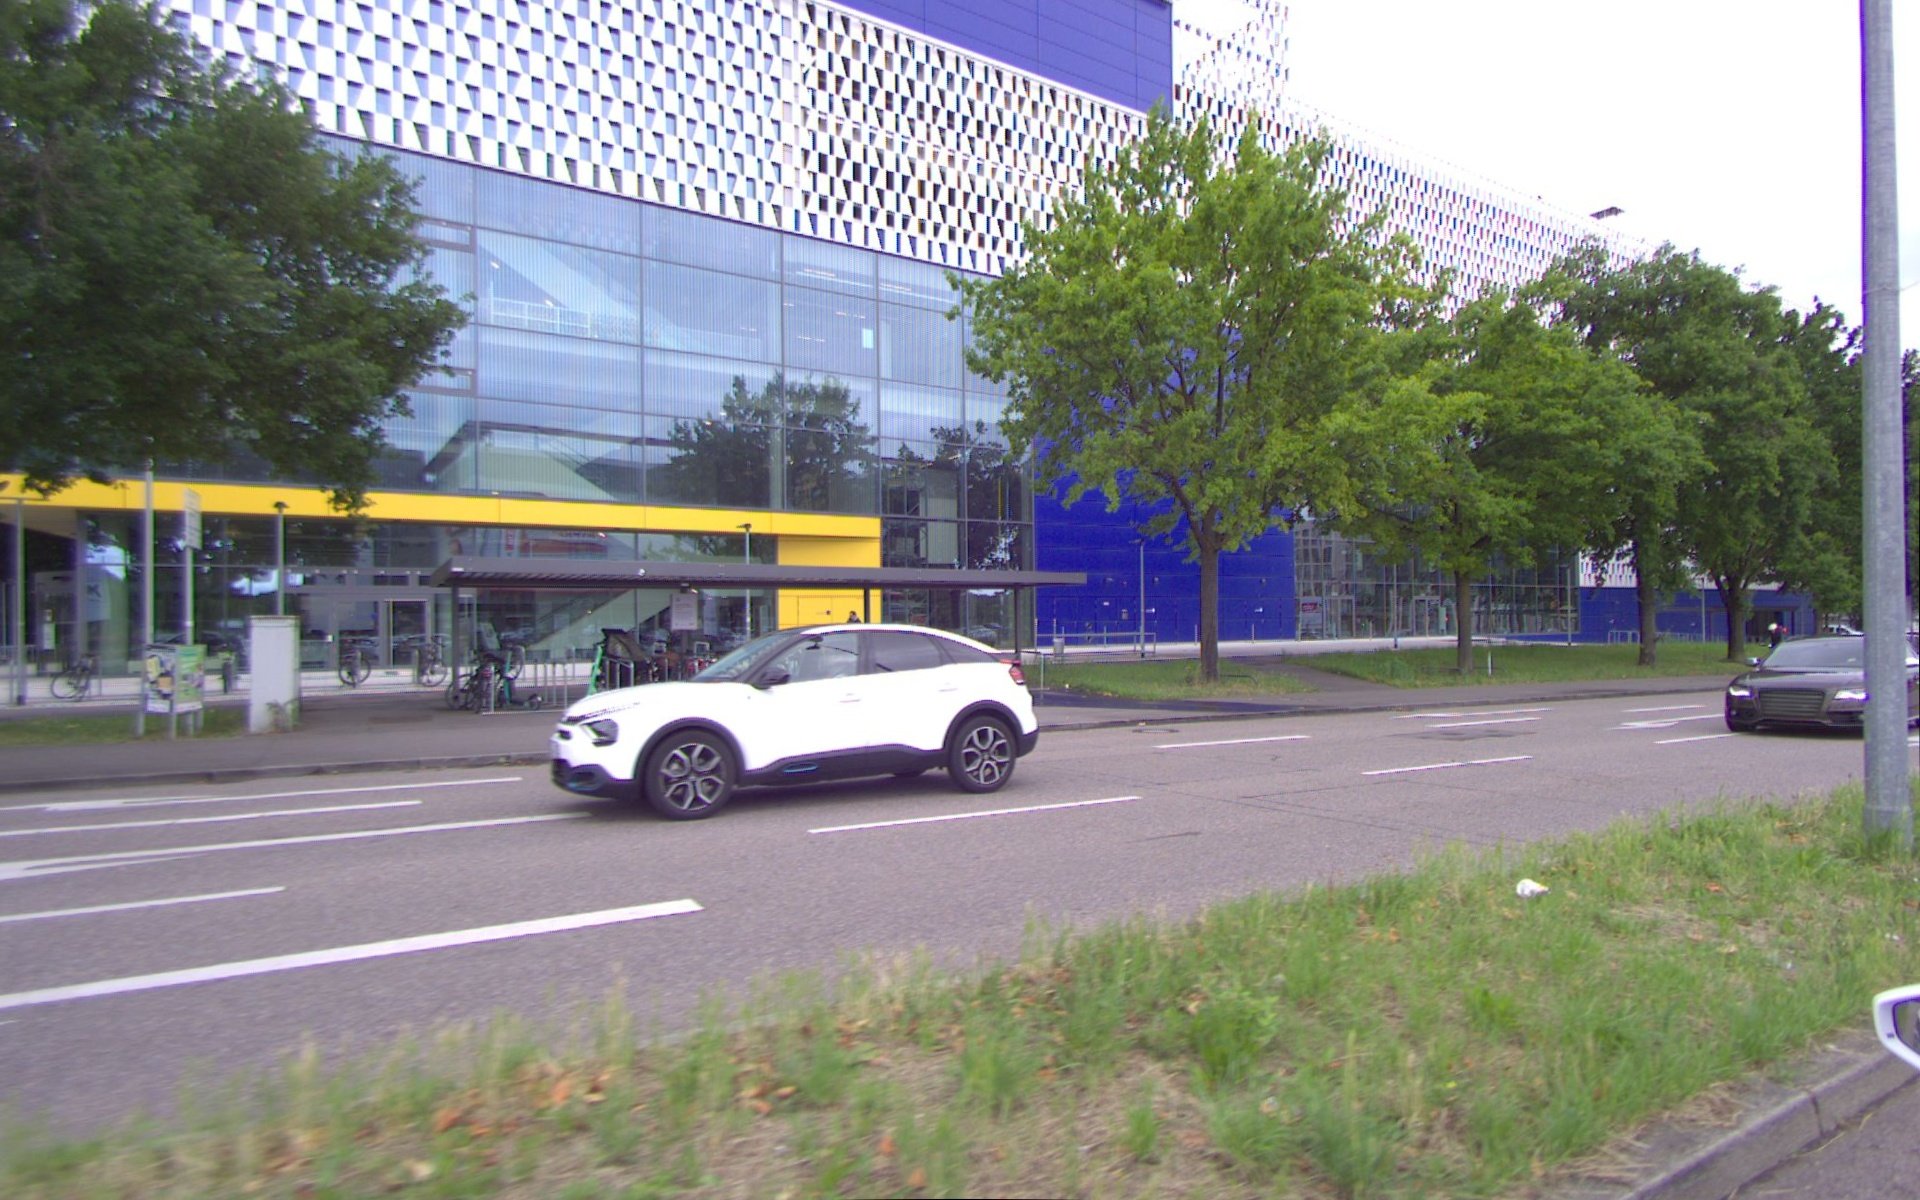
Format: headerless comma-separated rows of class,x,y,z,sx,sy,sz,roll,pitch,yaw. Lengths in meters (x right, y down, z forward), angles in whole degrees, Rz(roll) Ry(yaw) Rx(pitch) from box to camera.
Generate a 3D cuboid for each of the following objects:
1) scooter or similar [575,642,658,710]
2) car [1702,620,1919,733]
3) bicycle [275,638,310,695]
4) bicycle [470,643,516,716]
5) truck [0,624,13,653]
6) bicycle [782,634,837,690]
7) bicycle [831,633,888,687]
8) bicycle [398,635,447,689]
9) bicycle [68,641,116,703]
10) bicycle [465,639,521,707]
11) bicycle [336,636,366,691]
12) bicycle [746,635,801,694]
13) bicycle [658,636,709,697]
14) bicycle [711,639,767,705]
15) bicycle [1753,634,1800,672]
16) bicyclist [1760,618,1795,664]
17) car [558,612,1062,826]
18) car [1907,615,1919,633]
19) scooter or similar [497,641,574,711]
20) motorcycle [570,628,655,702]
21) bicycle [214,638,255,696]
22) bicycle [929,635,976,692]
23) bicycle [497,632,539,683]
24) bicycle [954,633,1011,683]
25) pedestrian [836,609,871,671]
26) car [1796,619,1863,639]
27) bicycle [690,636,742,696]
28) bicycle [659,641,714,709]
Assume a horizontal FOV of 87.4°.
scooter or similar,-6.111,1.343,17.875,1.322,1.164,0.424,1,1,1
car,13.062,1.105,15.033,4.389,1.455,1.871,2,-4,-36
bicycle,-15.382,1.506,23.177,0.587,1.172,2.005,0,0,-31
bicycle,-8.246,1.366,17.704,0.586,1.172,2.006,0,-1,-29
truck,-125.710,4.938,129.521,3.226,3.711,9.812,2,-3,-32
bicycle,-3.529,1.414,23.467,0.586,1.172,2.006,0,1,-29
bicycle,-2.435,1.411,24.143,0.586,1.172,2.006,0,1,-29
bicycle,-13.102,1.486,24.464,0.589,1.172,1.997,0,0,-43
bicycle,-18.397,1.491,21.277,1.994,1.172,0.590,1,0,44
bicycle,-9.099,1.397,19.626,0.583,1.172,2.017,1,0,-13
bicycle,-14.397,1.478,23.752,0.587,1.172,2.005,0,0,-31
bicycle,-4.187,1.417,22.412,0.586,1.172,2.006,0,1,-29
bicycle,-6.007,1.415,21.751,0.586,1.172,2.006,0,1,-29
bicycle,-4.477,1.418,20.262,0.586,1.172,1.885,0,1,-30
bicycle,28.805,1.870,35.431,2.032,1.267,0.639,0,0,-31
bicyclist,28.829,1.428,35.426,0.988,1.598,0.637,0,0,-31
car,-1.319,0.950,9.137,4.132,1.538,1.923,1,-4,-30
car,100.641,2.480,103.259,1.979,1.734,4.406,-4,1,-34
scooter or similar,-7.590,1.356,17.972,1.266,1.200,0.359,0,0,7
motorcycle,-7.318,1.318,21.071,0.794,1.373,2.469,0,1,-42
bicycle,-16.324,1.473,22.624,0.587,1.172,2.005,0,0,-31
bicycle,-0.198,1.450,23.364,0.584,1.172,2.015,1,0,-15
bicycle,-11.318,1.439,25.689,0.588,1.172,2.001,0,0,-36
bicycle,0.559,1.469,25.930,0.586,1.137,2.008,0,1,-27
pedestrian,-3.116,1.160,29.364,0.799,1.769,0.674,0,0,-31
car,93.719,3.135,108.316,1.860,1.990,5.102,-3,0,-33
bicycle,-5.373,1.413,22.051,0.586,1.172,2.006,0,1,-29
bicycle,-5.377,1.431,19.684,0.586,1.172,1.885,0,1,-30
